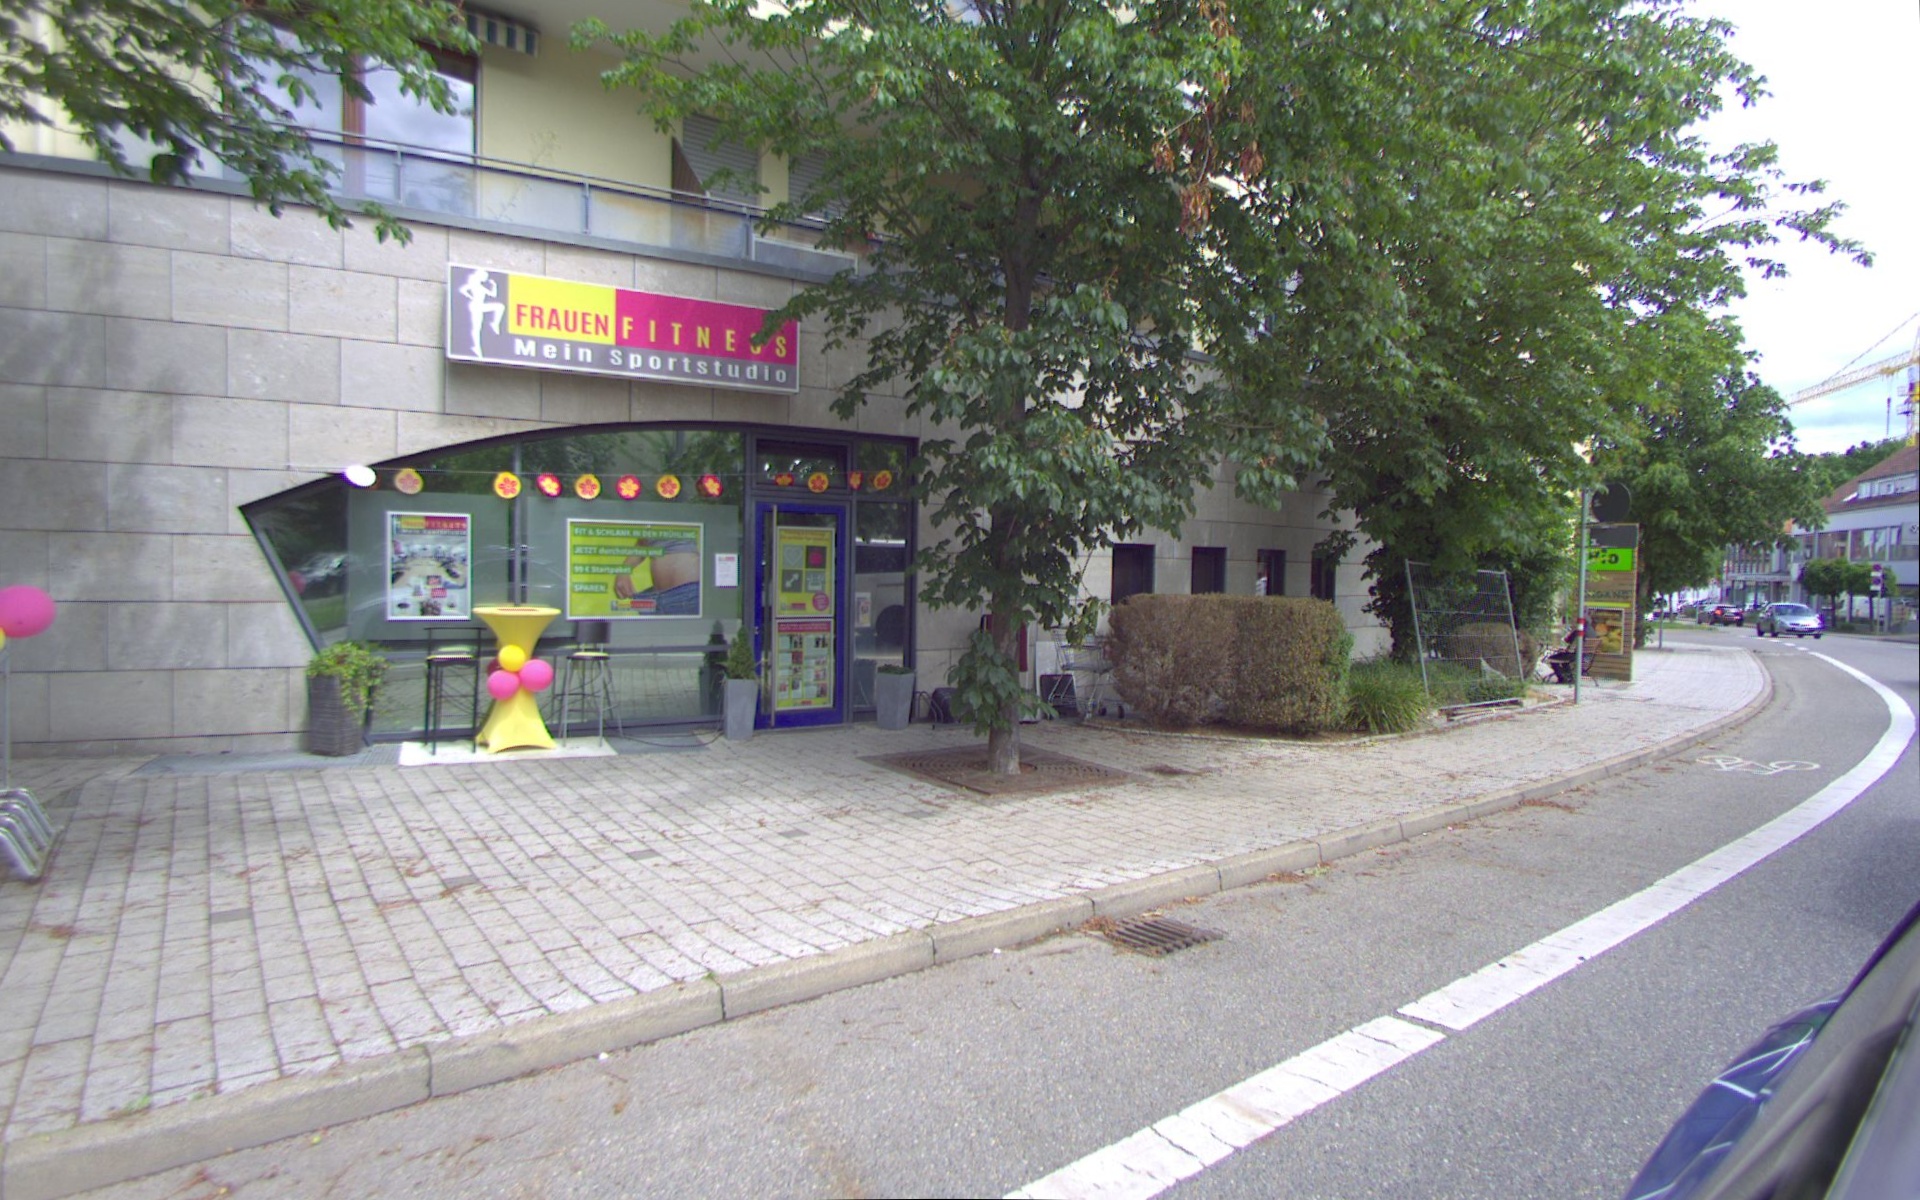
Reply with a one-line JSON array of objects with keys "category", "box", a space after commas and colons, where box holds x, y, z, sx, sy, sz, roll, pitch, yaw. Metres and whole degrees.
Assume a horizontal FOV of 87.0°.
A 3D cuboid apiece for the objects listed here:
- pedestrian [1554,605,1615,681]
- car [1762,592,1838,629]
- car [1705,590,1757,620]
[{"category": "pedestrian", "box": [11.372, 0.766, 18.425, 0.741, 1.317, 0.730, 1, 2, -41]}, {"category": "car", "box": [36.399, 0.440, 43.941, 1.678, 1.505, 3.963, -1, 0, 27]}, {"category": "car", "box": [50.745, 0.287, 66.686, 1.722, 1.874, 3.970, 2, 2, 23]}]
